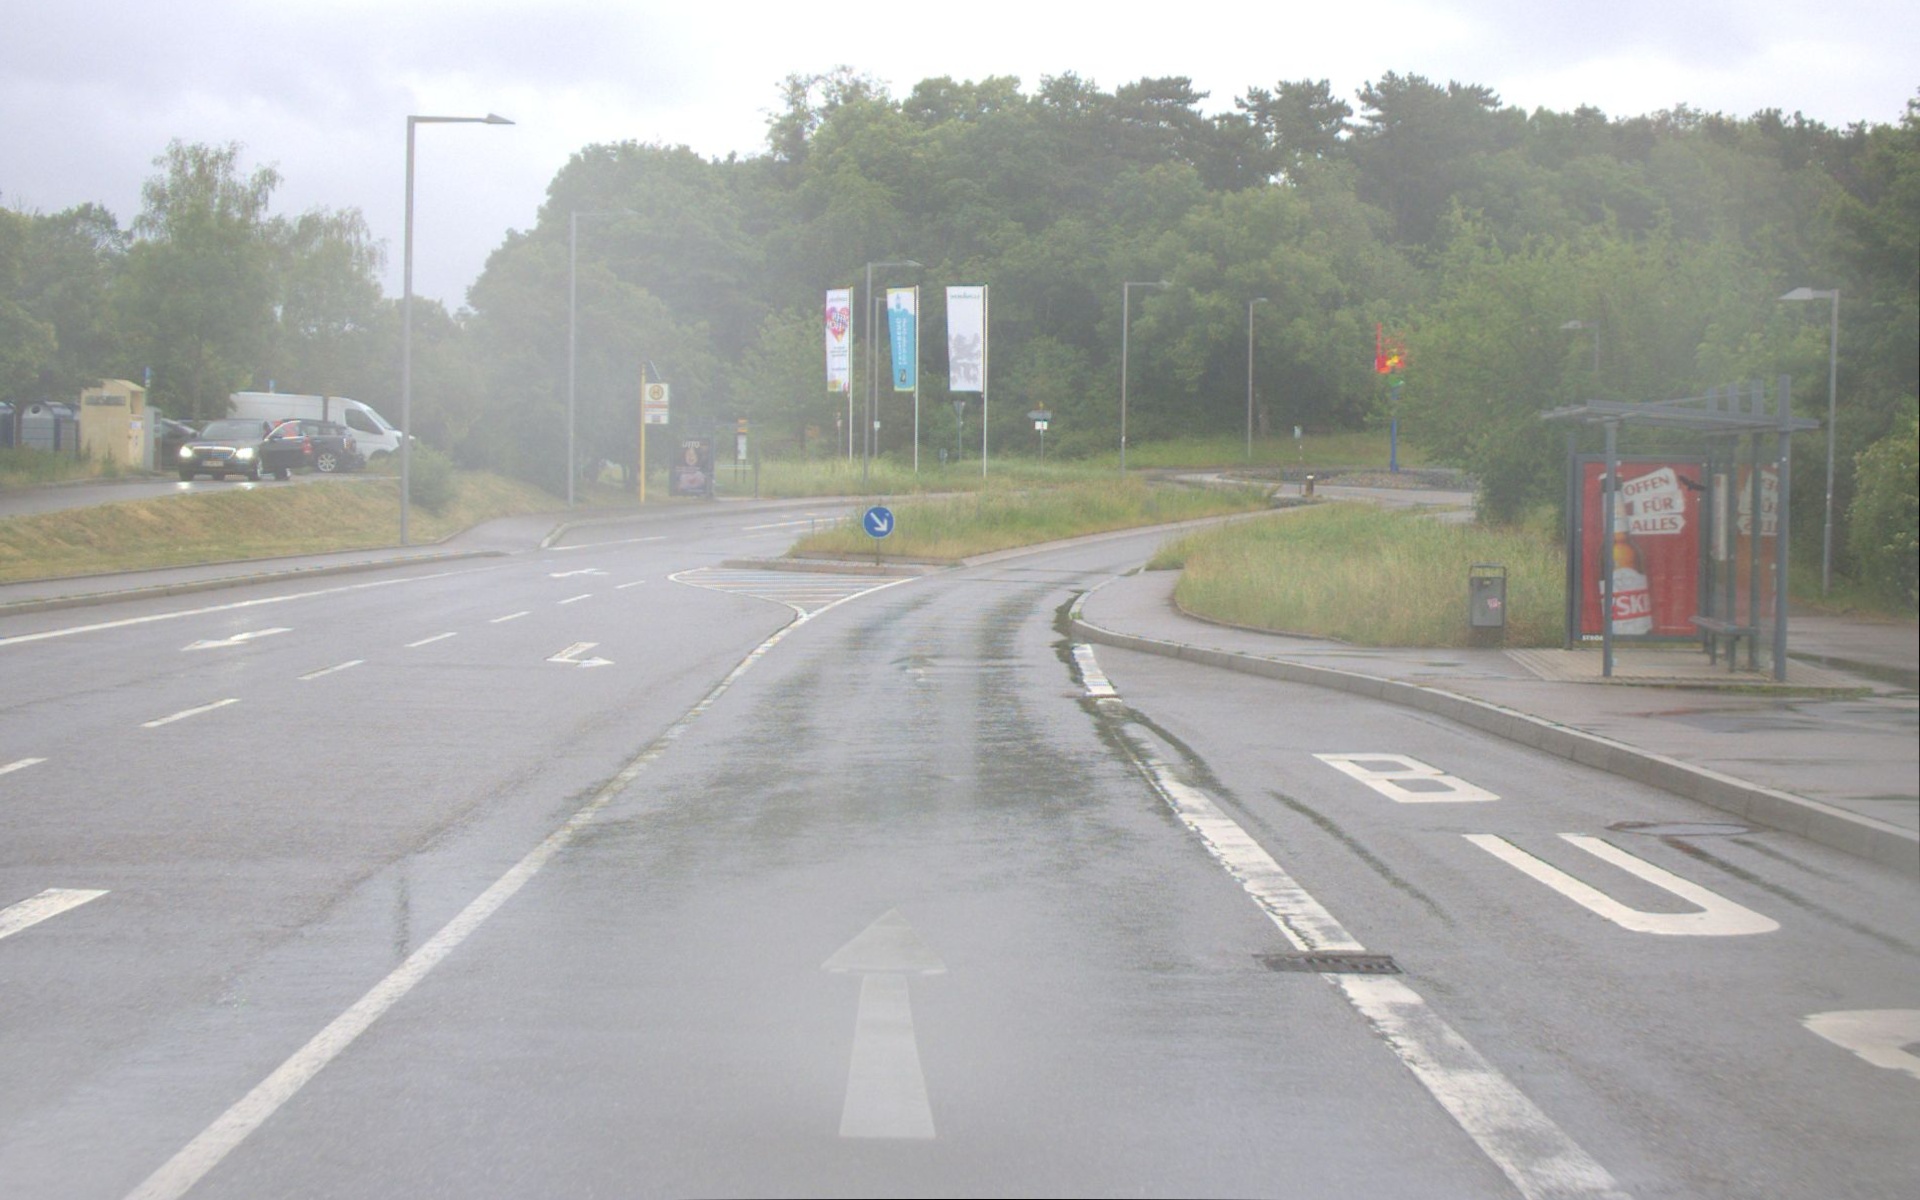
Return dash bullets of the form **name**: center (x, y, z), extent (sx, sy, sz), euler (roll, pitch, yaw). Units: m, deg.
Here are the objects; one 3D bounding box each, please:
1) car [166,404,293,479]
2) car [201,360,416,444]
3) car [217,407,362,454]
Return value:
- **car**: center (-17.244, -3.780, 81.377), extent (1.691, 1.562, 4.542), euler (4, 4, 4)
- **car**: center (-21.398, -6.504, 113.060), extent (6.555, 2.389, 2.139), euler (3, 1, 1)
- **car**: center (-20.538, -5.196, 105.419), extent (3.988, 1.359, 1.847), euler (2, 3, 7)
